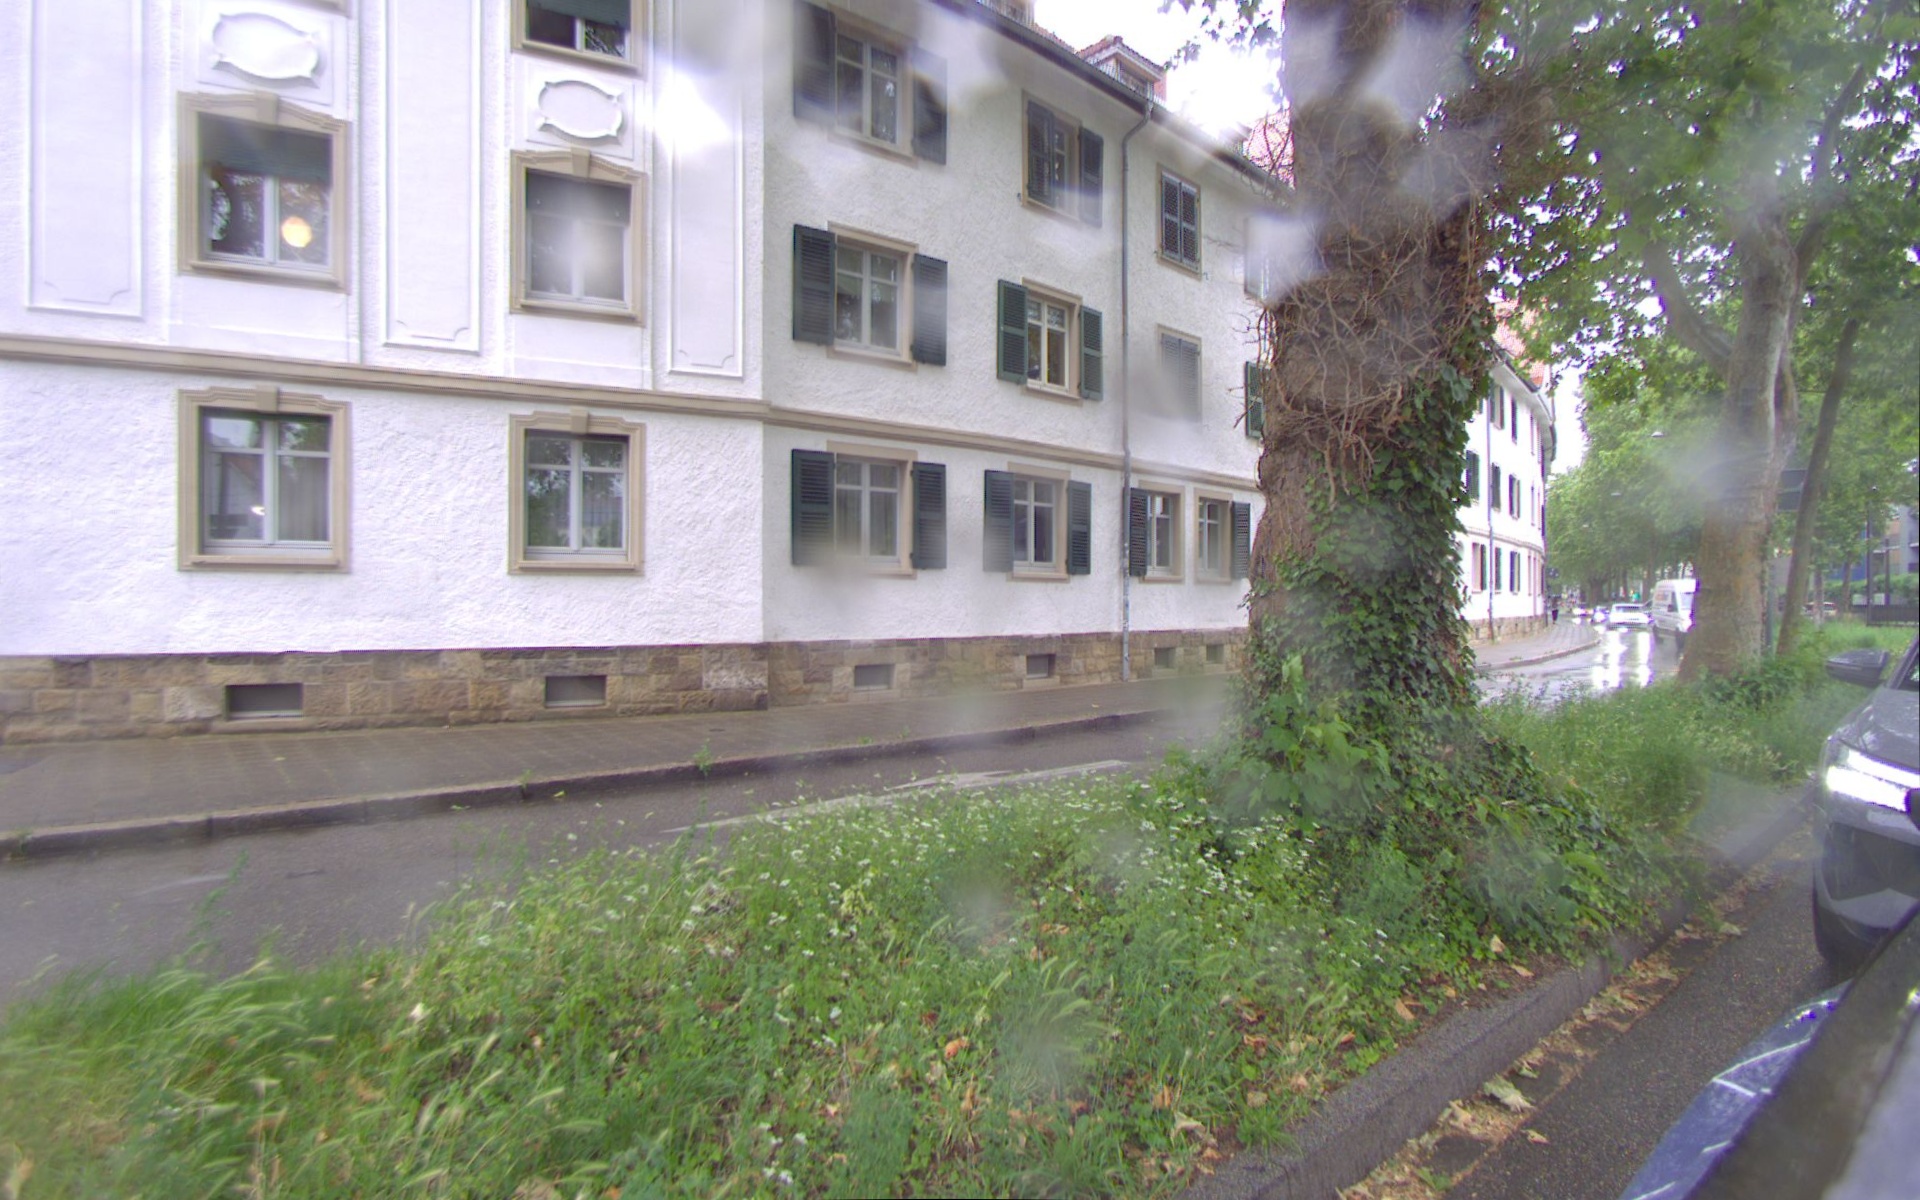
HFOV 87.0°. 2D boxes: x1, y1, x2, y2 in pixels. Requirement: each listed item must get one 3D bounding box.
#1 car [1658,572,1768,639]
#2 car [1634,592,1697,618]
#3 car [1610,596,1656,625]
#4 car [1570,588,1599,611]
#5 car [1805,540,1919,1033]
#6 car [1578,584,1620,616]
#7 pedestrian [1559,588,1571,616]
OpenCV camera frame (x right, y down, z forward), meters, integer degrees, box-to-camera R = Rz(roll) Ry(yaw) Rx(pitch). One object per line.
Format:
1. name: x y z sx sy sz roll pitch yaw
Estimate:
1. car: 27.998 0.180 37.852 2.173 2.292 5.367 0 0 24
2. car: 55.910 0.387 80.306 3.969 2.039 1.977 0 -1 32
3. car: 37.547 0.567 56.528 1.816 1.545 3.959 0 0 29
4. car: 60.708 -0.064 98.374 1.983 2.038 3.961 5 3 28
5. car: 5.144 0.620 4.321 4.039 1.662 1.913 0 0 -44
6. car: 43.982 -0.029 69.720 1.983 2.038 3.961 5 3 28
7. pedestrian: 39.713 0.108 66.468 0.668 1.845 0.672 0 0 31
